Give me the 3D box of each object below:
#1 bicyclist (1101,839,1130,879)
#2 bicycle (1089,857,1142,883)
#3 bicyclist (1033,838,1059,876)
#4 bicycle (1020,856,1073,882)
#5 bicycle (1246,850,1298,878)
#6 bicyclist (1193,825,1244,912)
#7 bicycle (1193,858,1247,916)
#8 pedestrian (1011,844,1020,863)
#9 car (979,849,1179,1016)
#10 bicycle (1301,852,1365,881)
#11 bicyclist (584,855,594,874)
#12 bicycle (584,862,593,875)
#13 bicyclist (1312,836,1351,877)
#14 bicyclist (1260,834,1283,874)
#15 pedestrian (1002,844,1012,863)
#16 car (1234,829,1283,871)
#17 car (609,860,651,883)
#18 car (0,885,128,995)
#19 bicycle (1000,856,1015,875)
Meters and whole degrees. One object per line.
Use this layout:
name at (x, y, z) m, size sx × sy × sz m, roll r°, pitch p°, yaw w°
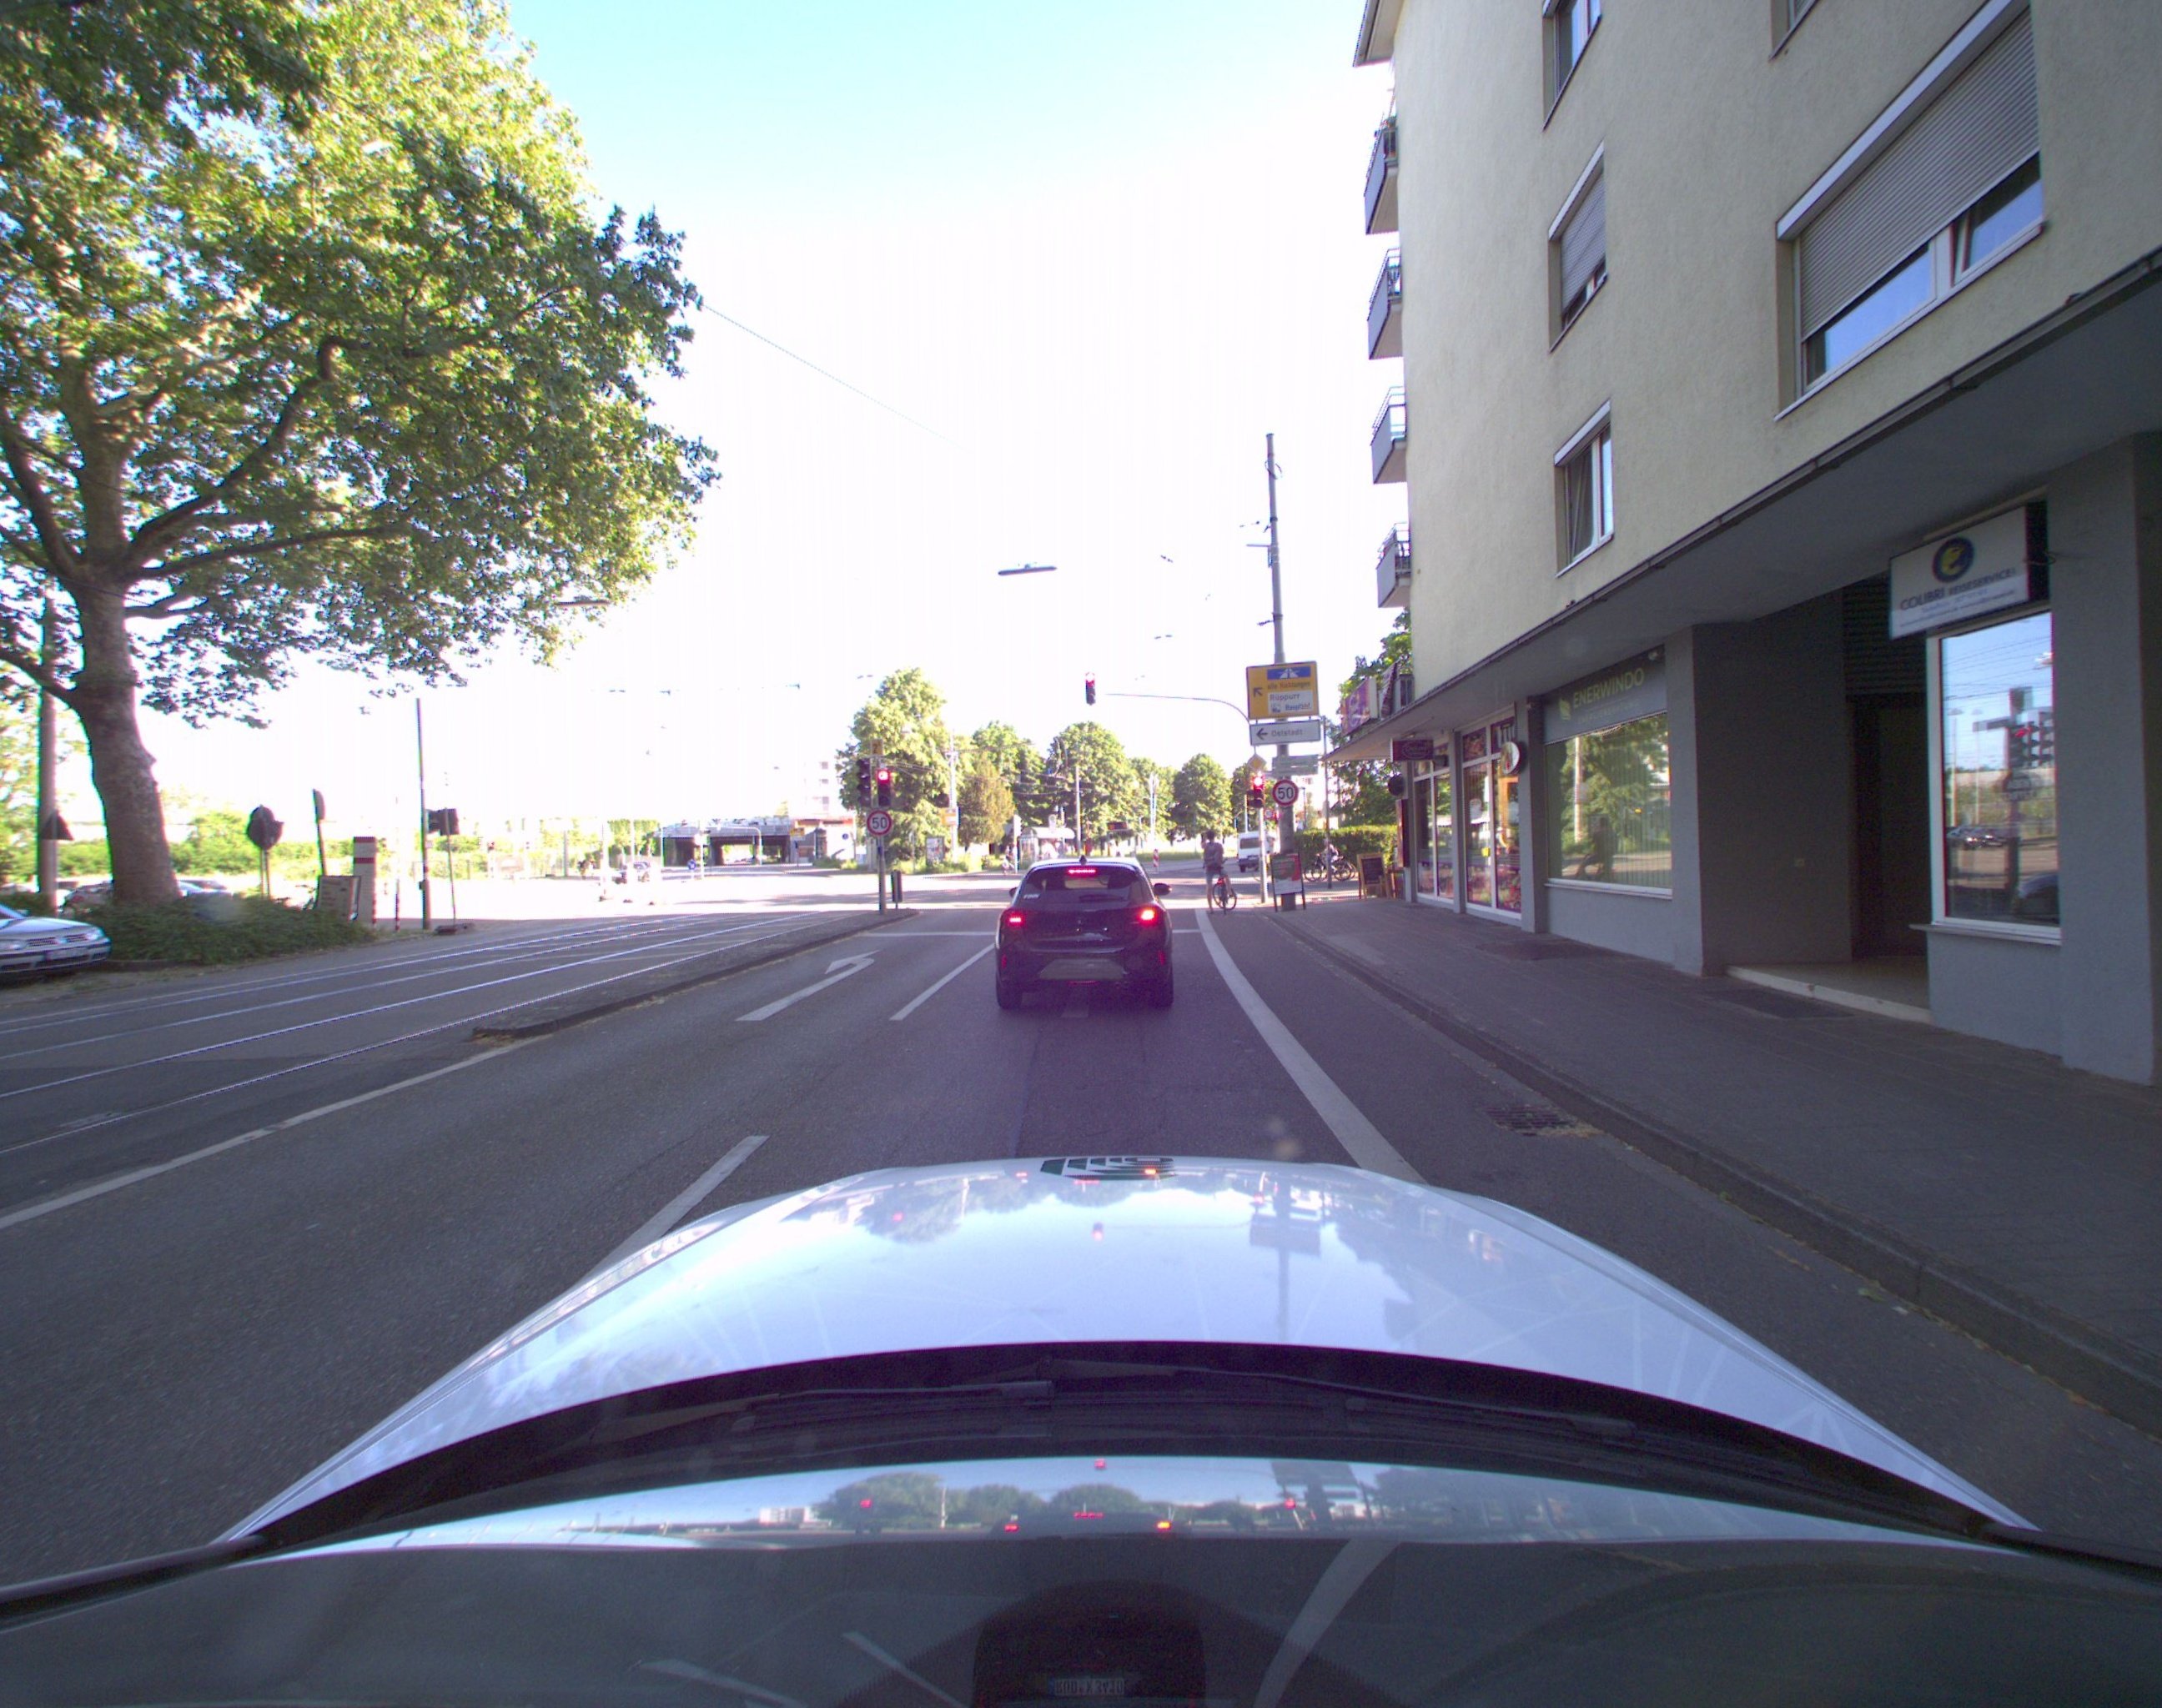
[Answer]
bicyclist at (1.427, 0.206, 33.265) m, size 1.003 × 1.570 × 0.802 m, roll -2°, pitch 0°, yaw 13°
bicycle at (1.410, 0.663, 33.255) m, size 2.044 × 0.984 × 0.675 m, roll -2°, pitch 0°, yaw 13°
bicyclist at (-1.593, 0.128, 37.283) m, size 0.920 × 1.707 × 0.878 m, roll -2°, pitch 0°, yaw 14°
bicycle at (-1.571, 0.684, 37.291) m, size 2.276 × 1.084 × 0.804 m, roll -2°, pitch 0°, yaw 14°
bicycle at (7.988, 0.433, 34.039) m, size 2.039 × 1.094 × 0.595 m, roll -2°, pitch 0°, yaw 15°
bicyclist at (3.056, 0.313, 18.165) m, size 0.938 × 1.851 × 0.864 m, roll -2°, pitch 0°, yaw 1°
bicycle at (3.072, 0.699, 18.202) m, size 0.857 × 1.153 × 2.173 m, roll -2°, pitch 0°, yaw 1°
pedestrian at (-5.564, -0.043, 68.909) m, size 0.633 × 1.629 × 0.573 m, roll 0°, pitch -1°, yaw 9°
car at (0.060, 0.676, 9.204) m, size 1.720 × 1.429 × 4.189 m, roll -1°, pitch 0°, yaw 2°
bicycle at (9.731, 0.462, 31.448) m, size 2.192 × 1.033 × 0.831 m, roll -2°, pitch 0°, yaw -11°
bicyclist at (-42.592, 0.904, 70.529) m, size 0.639 × 1.563 × 0.825 m, roll -2°, pitch 0°, yaw -31°
bicycle at (-42.605, 1.267, 70.469) m, size 0.585 × 1.060 × 2.022 m, roll -2°, pitch 0°, yaw -30°
bicyclist at (9.662, 0.104, 31.433) m, size 1.113 × 1.520 × 0.918 m, roll -2°, pitch 0°, yaw -11°
bicyclist at (7.974, -0.003, 34.034) m, size 0.855 × 1.595 × 0.652 m, roll -2°, pitch 0°, yaw 15°
pedestrian at (-6.280, -0.032, 69.016) m, size 0.746 × 1.629 × 0.599 m, roll 0°, pitch -1°, yaw 9°
car at (10.230, -0.238, 46.676) m, size 2.046 × 2.248 × 4.912 m, roll -2°, pitch 0°, yaw 20°
car at (-31.184, 1.153, 56.458) m, size 1.830 × 1.519 × 3.870 m, roll 0°, pitch 0°, yaw -18°
car at (-16.922, 1.217, 11.696) m, size 4.496 × 1.429 × 1.676 m, roll 0°, pitch 0°, yaw 0°
bicycle at (-4.218, 0.673, 47.053) m, size 0.603 × 1.031 × 1.983 m, roll -2°, pitch 0°, yaw 2°
